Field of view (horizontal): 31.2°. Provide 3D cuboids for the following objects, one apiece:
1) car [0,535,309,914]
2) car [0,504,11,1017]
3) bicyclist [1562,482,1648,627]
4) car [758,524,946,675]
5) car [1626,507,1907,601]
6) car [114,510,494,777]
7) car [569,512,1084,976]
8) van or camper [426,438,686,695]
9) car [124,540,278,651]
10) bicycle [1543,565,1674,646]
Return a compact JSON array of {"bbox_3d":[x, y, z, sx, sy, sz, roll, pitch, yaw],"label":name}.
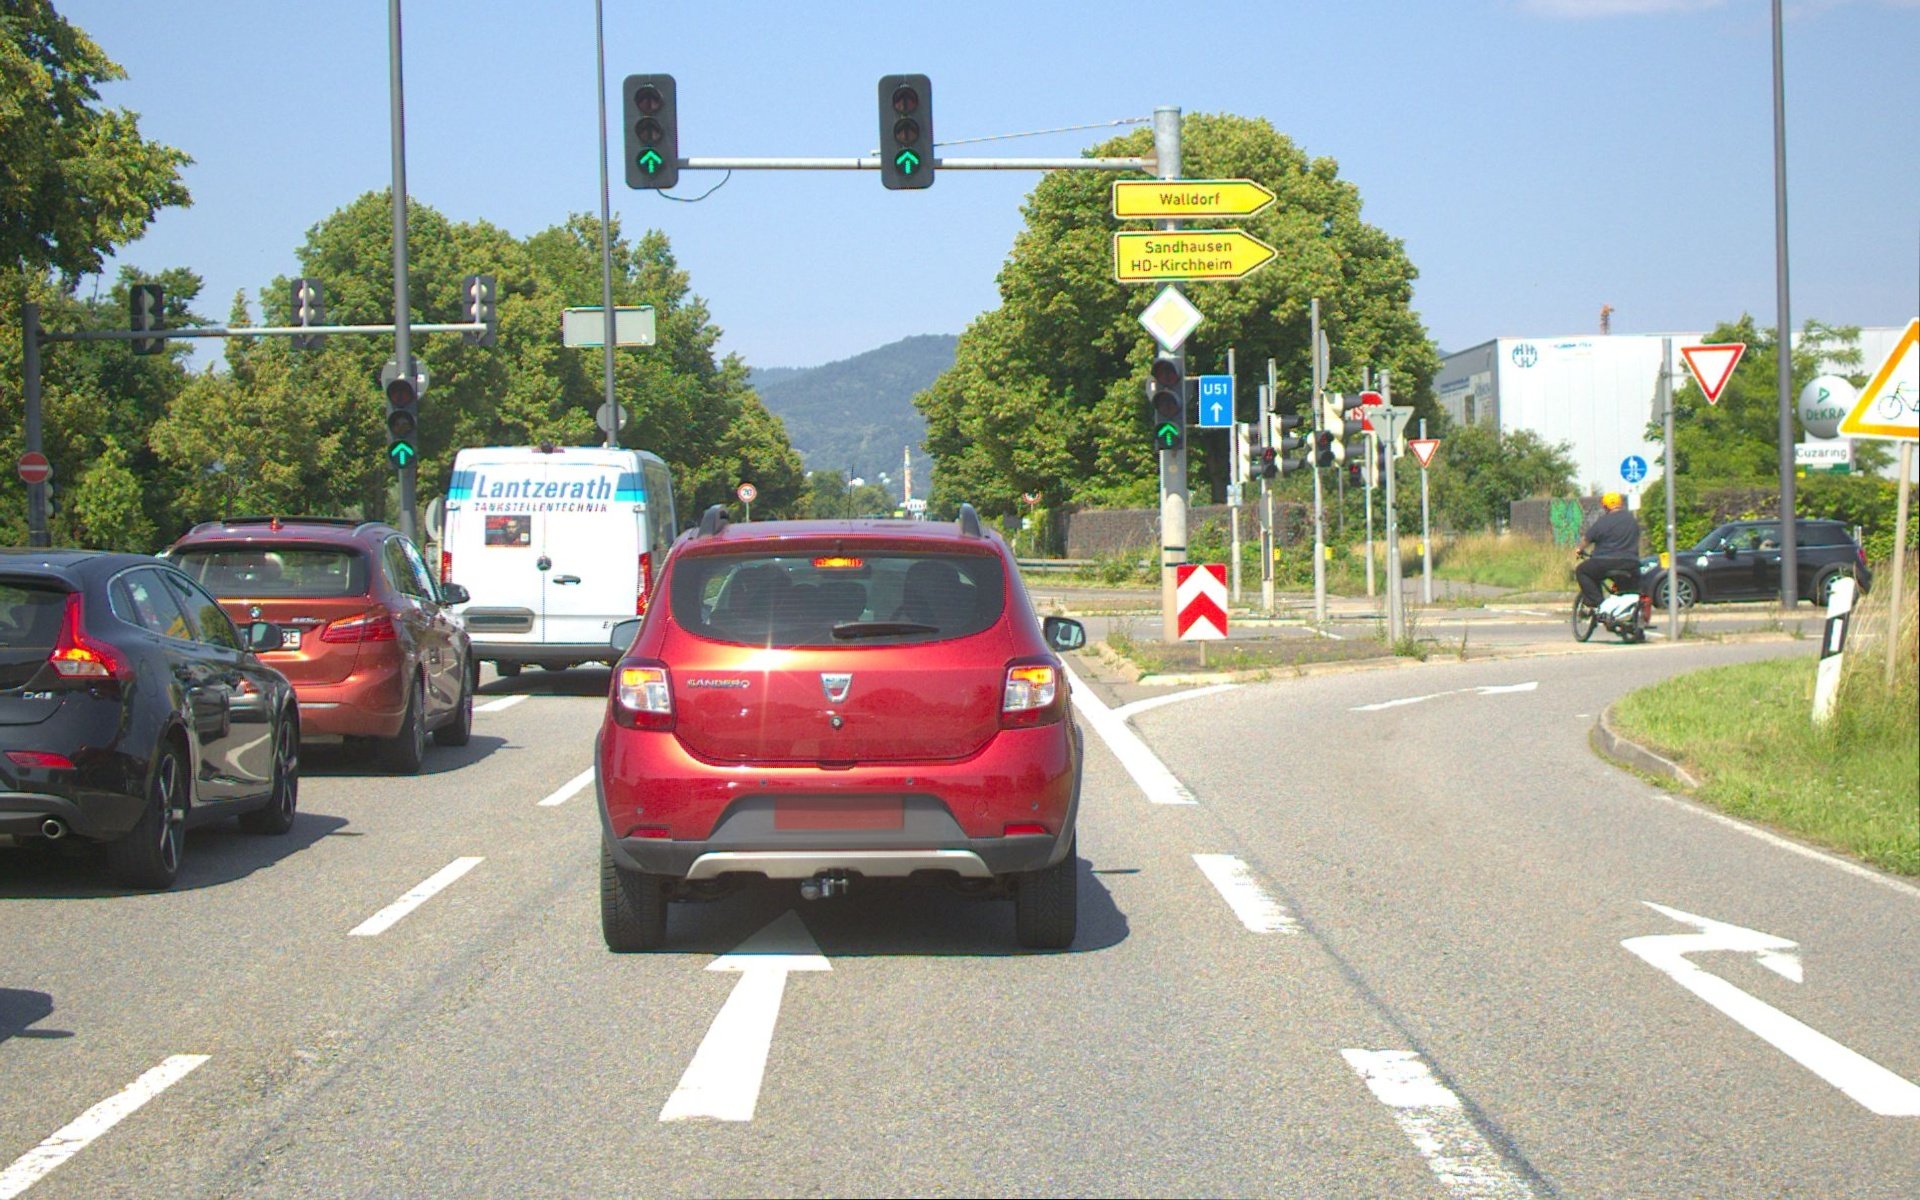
[{"bbox_3d":[-4.165,0.452,15.510,1.702,1.437,3.956,0,2,0],"label":"car"},{"bbox_3d":[-3.807,0.543,8.687,1.723,1.570,3.893,0,1,0],"label":"car"},{"bbox_3d":[7.983,-0.570,42.552,0.802,1.765,0.809,-1,1,-7],"label":"bicyclist"},{"bbox_3d":[-1.061,-0.044,35.417,1.749,1.453,3.676,0,1,1],"label":"car"},{"bbox_3d":[12.335,-0.717,52.775,3.988,1.322,1.806,-1,1,7],"label":"car"},{"bbox_3d":[-4.193,0.215,22.541,1.724,1.594,3.956,0,1,0],"label":"car"},{"bbox_3d":[-0.422,0.449,13.521,1.749,1.570,3.676,0,1,1],"label":"car"},{"bbox_3d":[-3.819,-0.352,33.299,2.179,2.295,4.827,0,1,-3],"label":"van or camper"},{"bbox_3d":[-11.974,-0.107,54.453,1.745,1.633,4.137,-1,1,-4],"label":"car"},{"bbox_3d":[8.011,0.053,42.593,0.761,0.911,2.780,-1,1,-7],"label":"bicycle"}]
